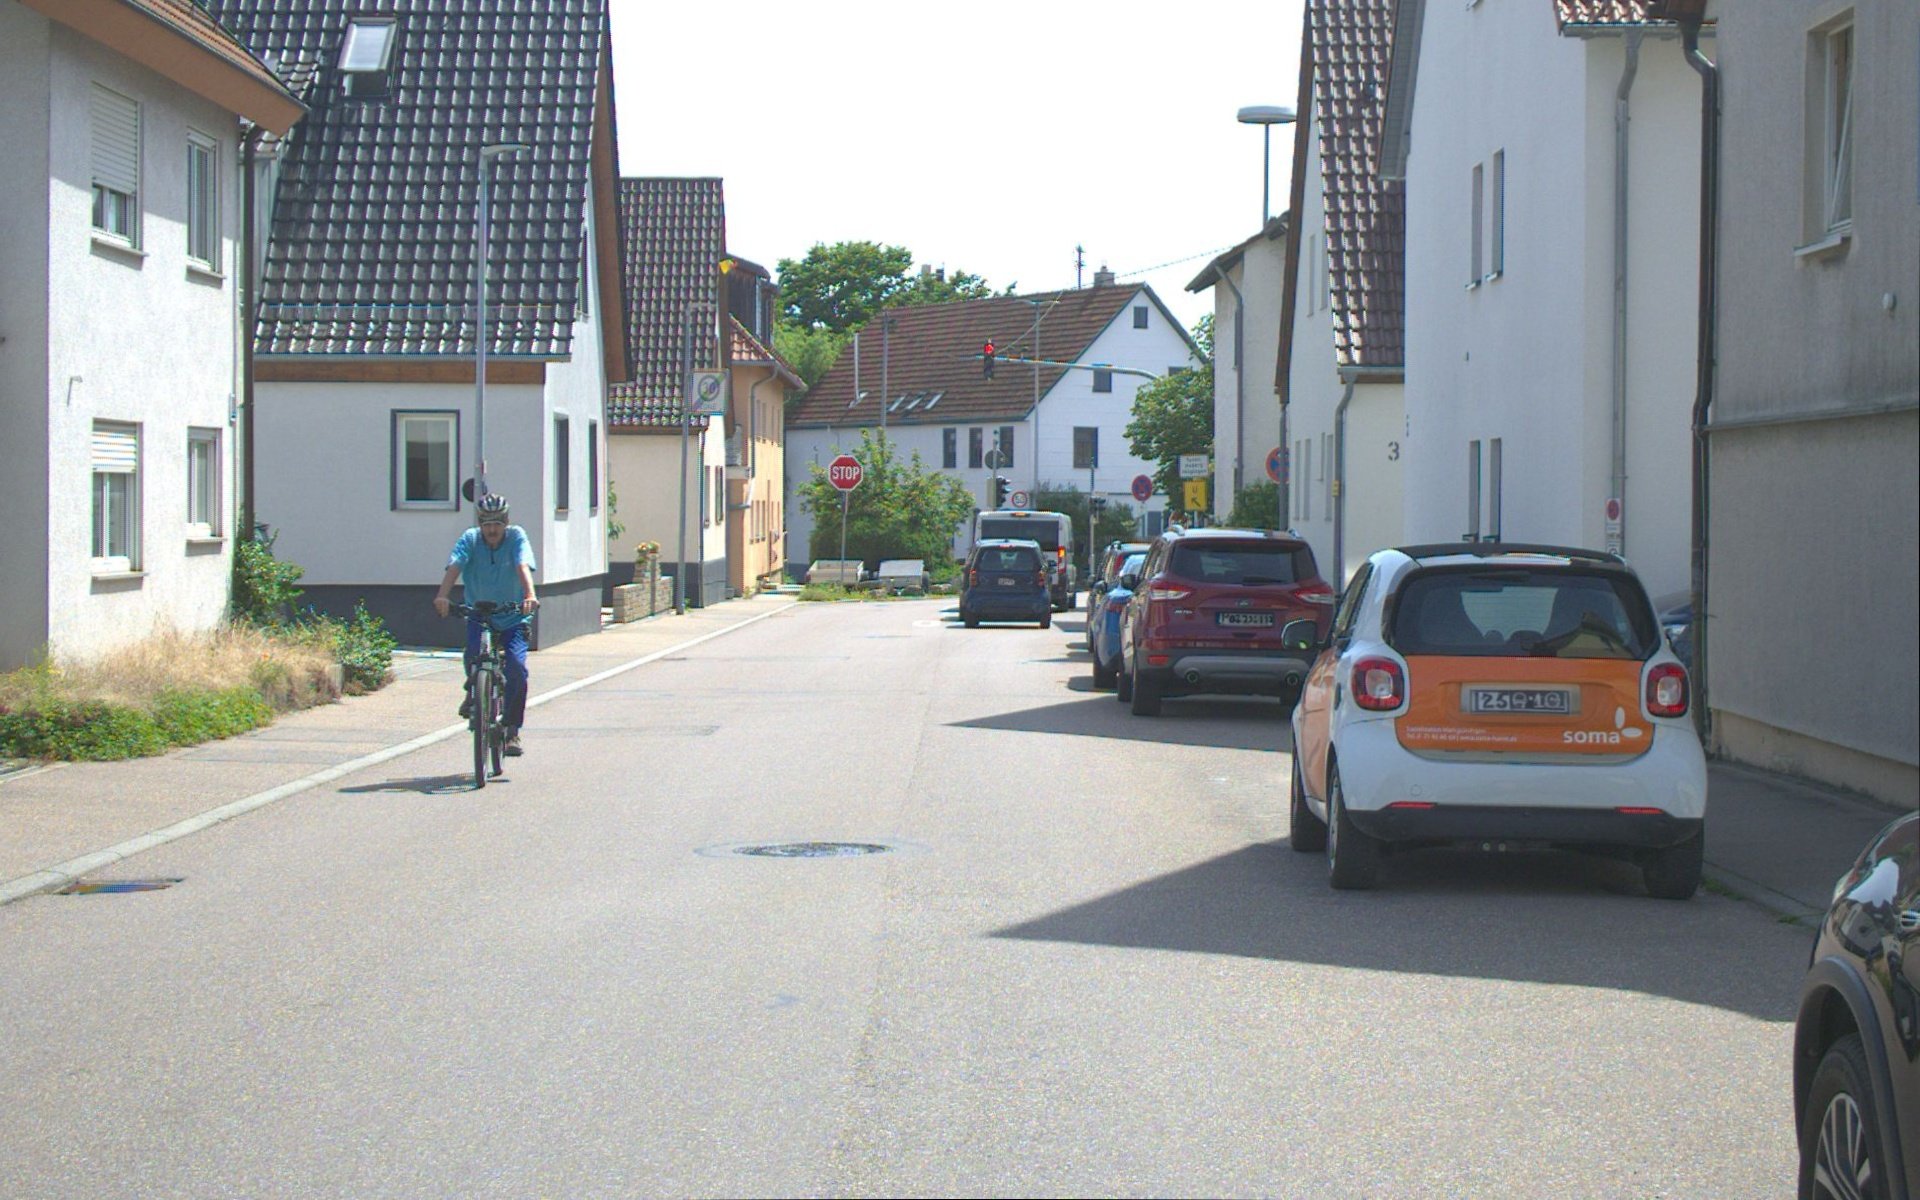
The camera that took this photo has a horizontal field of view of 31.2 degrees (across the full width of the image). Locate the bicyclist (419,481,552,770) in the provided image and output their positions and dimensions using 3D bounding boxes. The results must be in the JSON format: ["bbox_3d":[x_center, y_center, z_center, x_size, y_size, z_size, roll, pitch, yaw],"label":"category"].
[{"bbox_3d":[-3.013,0.150,21.905,0.713,1.792,0.942,1,1,-2],"label":"bicyclist"}]

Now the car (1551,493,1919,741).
[{"bbox_3d":[7.171,0.135,27.290,4.515,1.837,2.000,1,1,-2],"label":"car"}]

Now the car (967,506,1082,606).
[{"bbox_3d":[1.480,-0.999,76.734,2.129,2.151,4.735,1,1,6],"label":"car"}]

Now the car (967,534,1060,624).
[{"bbox_3d":[0.989,-0.398,62.499,1.516,1.561,3.184,1,1,4],"label":"car"}]

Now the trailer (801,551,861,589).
[{"bbox_3d":[-3.456,-0.806,92.462,1.502,0.924,1.012,3,1,2],"label":"trailer"}]

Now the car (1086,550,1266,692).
[{"bbox_3d":[2.298,0.181,37.628,1.763,1.419,4.592,1,1,1],"label":"car"}]

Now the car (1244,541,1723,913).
[{"bbox_3d":[2.379,0.523,16.310,1.673,1.553,3.041,1,1,-2],"label":"car"}]

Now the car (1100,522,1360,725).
[{"bbox_3d":[2.398,0.161,31.553,1.875,1.694,4.184,1,1,-2],"label":"car"}]

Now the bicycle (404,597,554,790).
[{"bbox_3d":[-3.058,0.569,22.019,0.670,1.128,2.189,1,1,-1],"label":"bicycle"}]

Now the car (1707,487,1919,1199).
[{"bbox_3d":[2.278,0.664,4.407,1.728,1.594,4.253,1,1,1],"label":"car"}]

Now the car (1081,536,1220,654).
[{"bbox_3d":[2.596,-0.096,47.438,1.567,1.540,3.450,1,1,-2],"label":"car"}]

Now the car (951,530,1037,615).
[{"bbox_3d":[0.685,-0.547,67.329,1.516,1.619,3.184,0,1,4],"label":"car"}]

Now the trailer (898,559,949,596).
[{"bbox_3d":[-0.967,-0.607,92.040,1.311,0.967,0.933,1,1,2],"label":"trailer"}]
